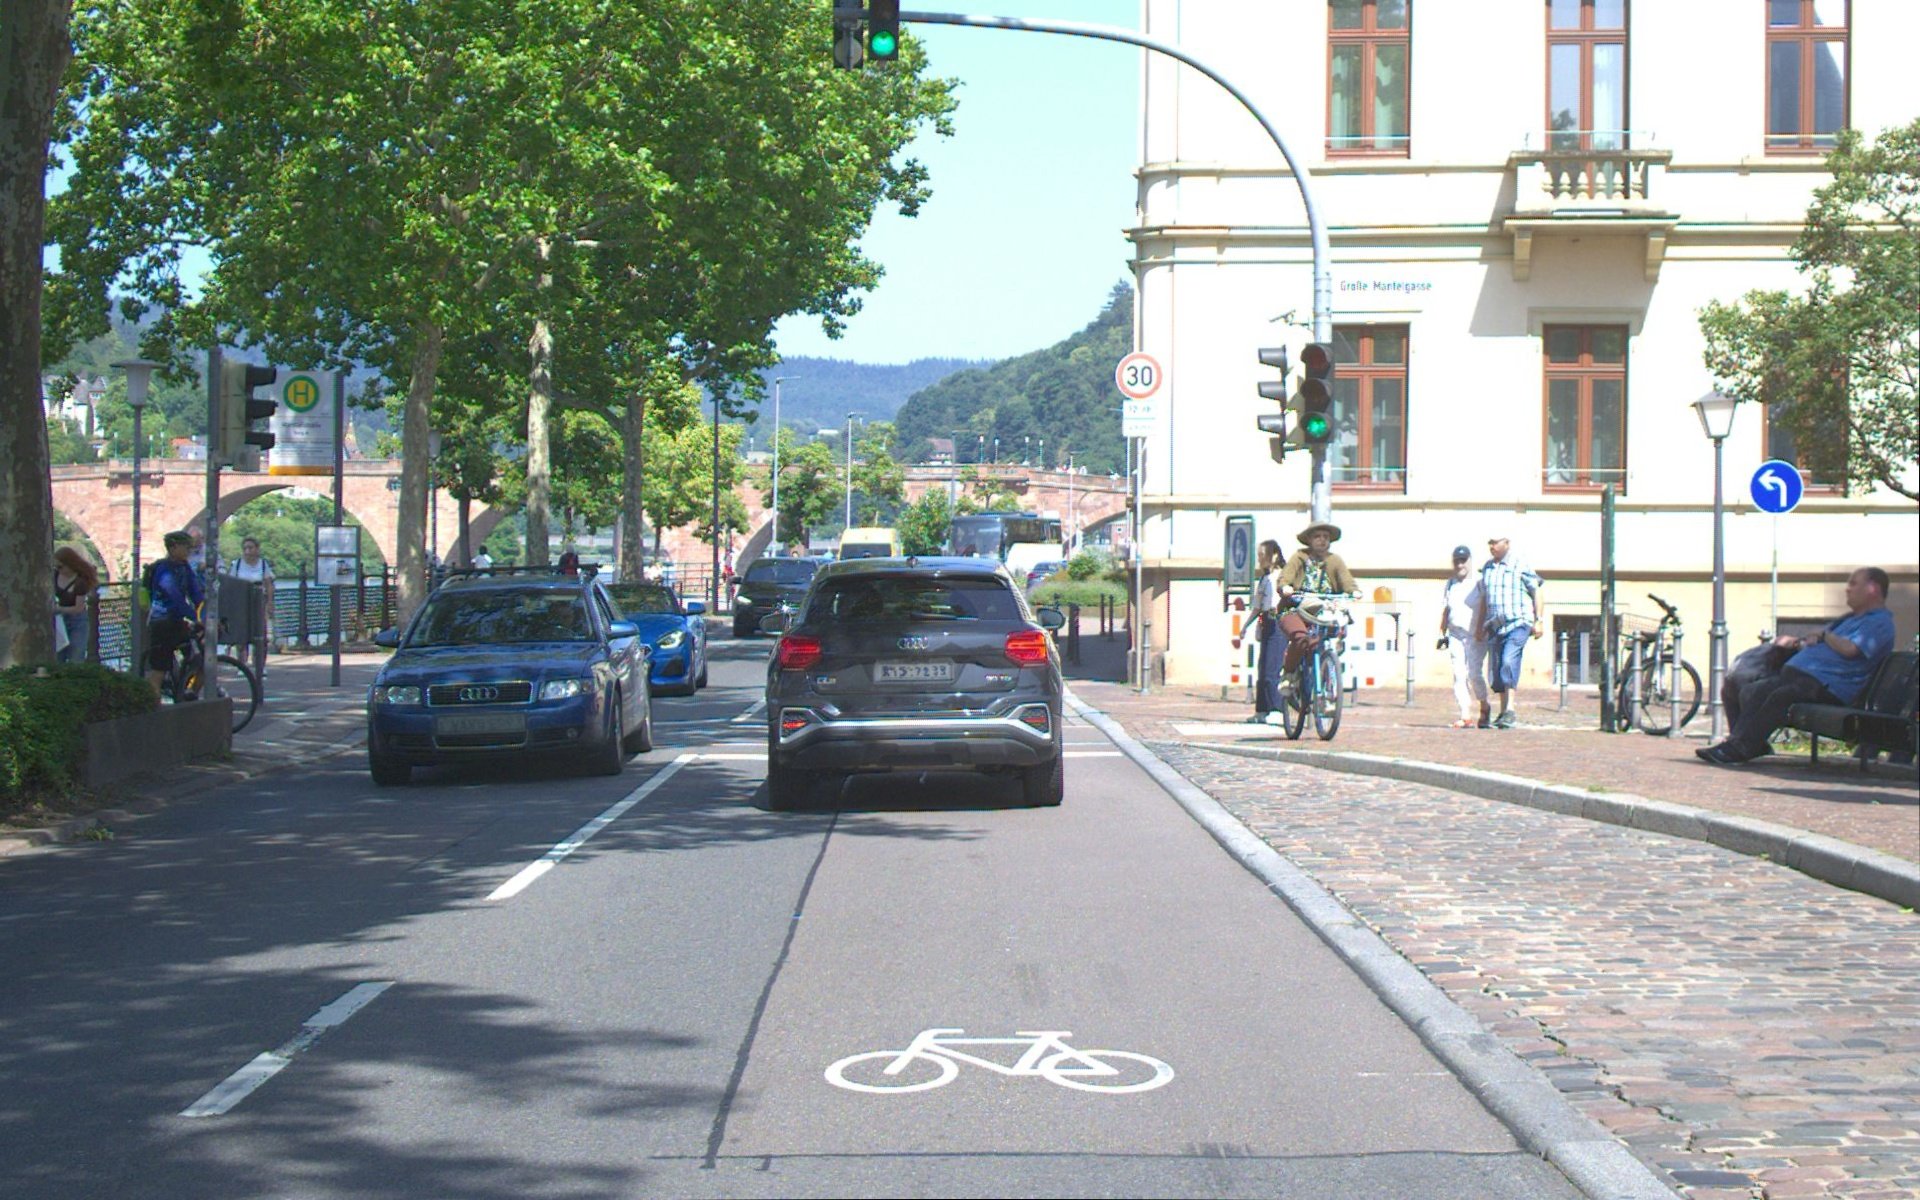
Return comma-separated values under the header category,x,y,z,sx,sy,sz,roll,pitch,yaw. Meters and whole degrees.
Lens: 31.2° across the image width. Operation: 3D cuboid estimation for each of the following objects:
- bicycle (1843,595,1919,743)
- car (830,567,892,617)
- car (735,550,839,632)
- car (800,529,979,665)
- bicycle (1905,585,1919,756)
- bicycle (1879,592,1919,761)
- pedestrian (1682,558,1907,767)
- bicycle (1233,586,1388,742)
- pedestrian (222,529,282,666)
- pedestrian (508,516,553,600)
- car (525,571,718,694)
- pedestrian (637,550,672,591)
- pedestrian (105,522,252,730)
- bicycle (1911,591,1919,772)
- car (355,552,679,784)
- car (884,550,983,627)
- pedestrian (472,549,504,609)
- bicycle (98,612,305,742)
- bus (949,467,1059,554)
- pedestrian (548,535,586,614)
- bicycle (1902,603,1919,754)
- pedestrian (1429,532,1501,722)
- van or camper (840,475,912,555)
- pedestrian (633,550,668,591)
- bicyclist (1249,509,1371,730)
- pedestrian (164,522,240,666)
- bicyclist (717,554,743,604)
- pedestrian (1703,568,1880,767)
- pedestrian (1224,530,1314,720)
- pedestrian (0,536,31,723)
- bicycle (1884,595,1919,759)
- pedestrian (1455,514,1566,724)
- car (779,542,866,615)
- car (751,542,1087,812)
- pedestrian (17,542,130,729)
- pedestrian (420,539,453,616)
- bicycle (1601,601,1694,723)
category,x,y,z,sx,sy,sz,roll,pitch,yaw
bicycle,7.856,0.556,26.714,1.792,1.106,0.563,2,1,-1
car,-2.936,-0.262,102.202,1.701,1.453,4.002,0,1,0
car,-3.370,-0.196,67.718,1.701,1.513,4.404,-1,1,1
car,-0.794,-0.070,39.931,1.926,1.456,4.832,1,1,-1
bicycle,7.824,0.536,24.324,2.079,1.194,0.527,2,1,-1
bicycle,7.810,0.581,24.927,2.079,1.194,0.608,2,1,-1
pedestrian,5.350,0.391,22.089,1.247,1.303,0.694,1,0,-2
bicycle,2.614,0.468,25.878,0.688,1.126,2.010,1,0,-8
pedestrian,-8.437,-0.034,40.980,0.493,1.612,0.991,1,0,-1
pedestrian,-8.224,-0.802,65.911,0.761,1.581,0.696,1,0,-1
car,-3.879,0.341,39.988,1.840,1.265,4.262,-3,1,-1
pedestrian,-9.847,-0.952,110.864,0.937,1.276,0.849,1,0,9
pedestrian,-6.783,0.216,29.838,1.024,1.767,0.767,1,1,40
bicycle,7.429,0.585,22.602,2.079,1.194,0.776,2,1,-1
car,-3.197,0.443,25.602,1.701,1.513,4.404,-2,0,1
car,-0.519,-0.265,71.766,1.926,1.548,4.832,0,1,1
pedestrian,-12.719,-0.572,92.697,0.694,1.610,0.663,1,0,8
bicycle,-6.559,0.655,29.683,1.829,0.922,0.741,7,4,40
bus,2.095,-3.972,155.652,2.632,3.552,12.976,1,0,11
pedestrian,-8.611,-0.560,75.351,0.656,1.677,0.758,3,0,-1
bicycle,8.012,0.613,25.588,1.792,1.106,0.608,2,1,-1
pedestrian,4.600,0.240,31.321,0.526,1.706,0.665,1,0,-1
van or camper,-2.815,-2.852,116.884,2.087,2.548,7.092,1,1,1
pedestrian,-9.900,-0.943,109.940,0.937,1.276,0.849,1,0,9
bicyclist,2.625,0.143,25.854,0.709,1.622,0.887,1,0,-7
pedestrian,-9.365,-0.079,42.516,0.711,1.758,0.972,1,0,-1
bicyclist,-7.288,-0.657,109.006,0.719,1.578,1.089,1,0,2
pedestrian,5.497,0.439,22.771,0.960,1.277,0.694,1,0,-2
pedestrian,2.760,0.214,30.744,0.715,1.670,0.682,1,0,-1
pedestrian,-9.054,0.268,31.895,0.653,1.708,0.793,0,1,-1
bicycle,7.408,0.550,23.322,2.079,1.081,0.604,2,1,-1
pedestrian,4.923,0.162,30.729,0.616,1.846,0.730,0,1,-45
car,-3.261,-0.534,80.720,1.735,1.512,4.406,0,3,-6
car,-0.272,0.403,22.147,1.926,1.548,4.832,0,1,-1
pedestrian,-8.238,0.321,31.959,0.835,1.708,0.782,1,0,-1
pedestrian,-13.434,-0.576,88.229,0.693,1.938,0.887,1,0,-1
bicycle,5.889,0.545,29.487,0.508,1.000,1.580,2,-2,2
